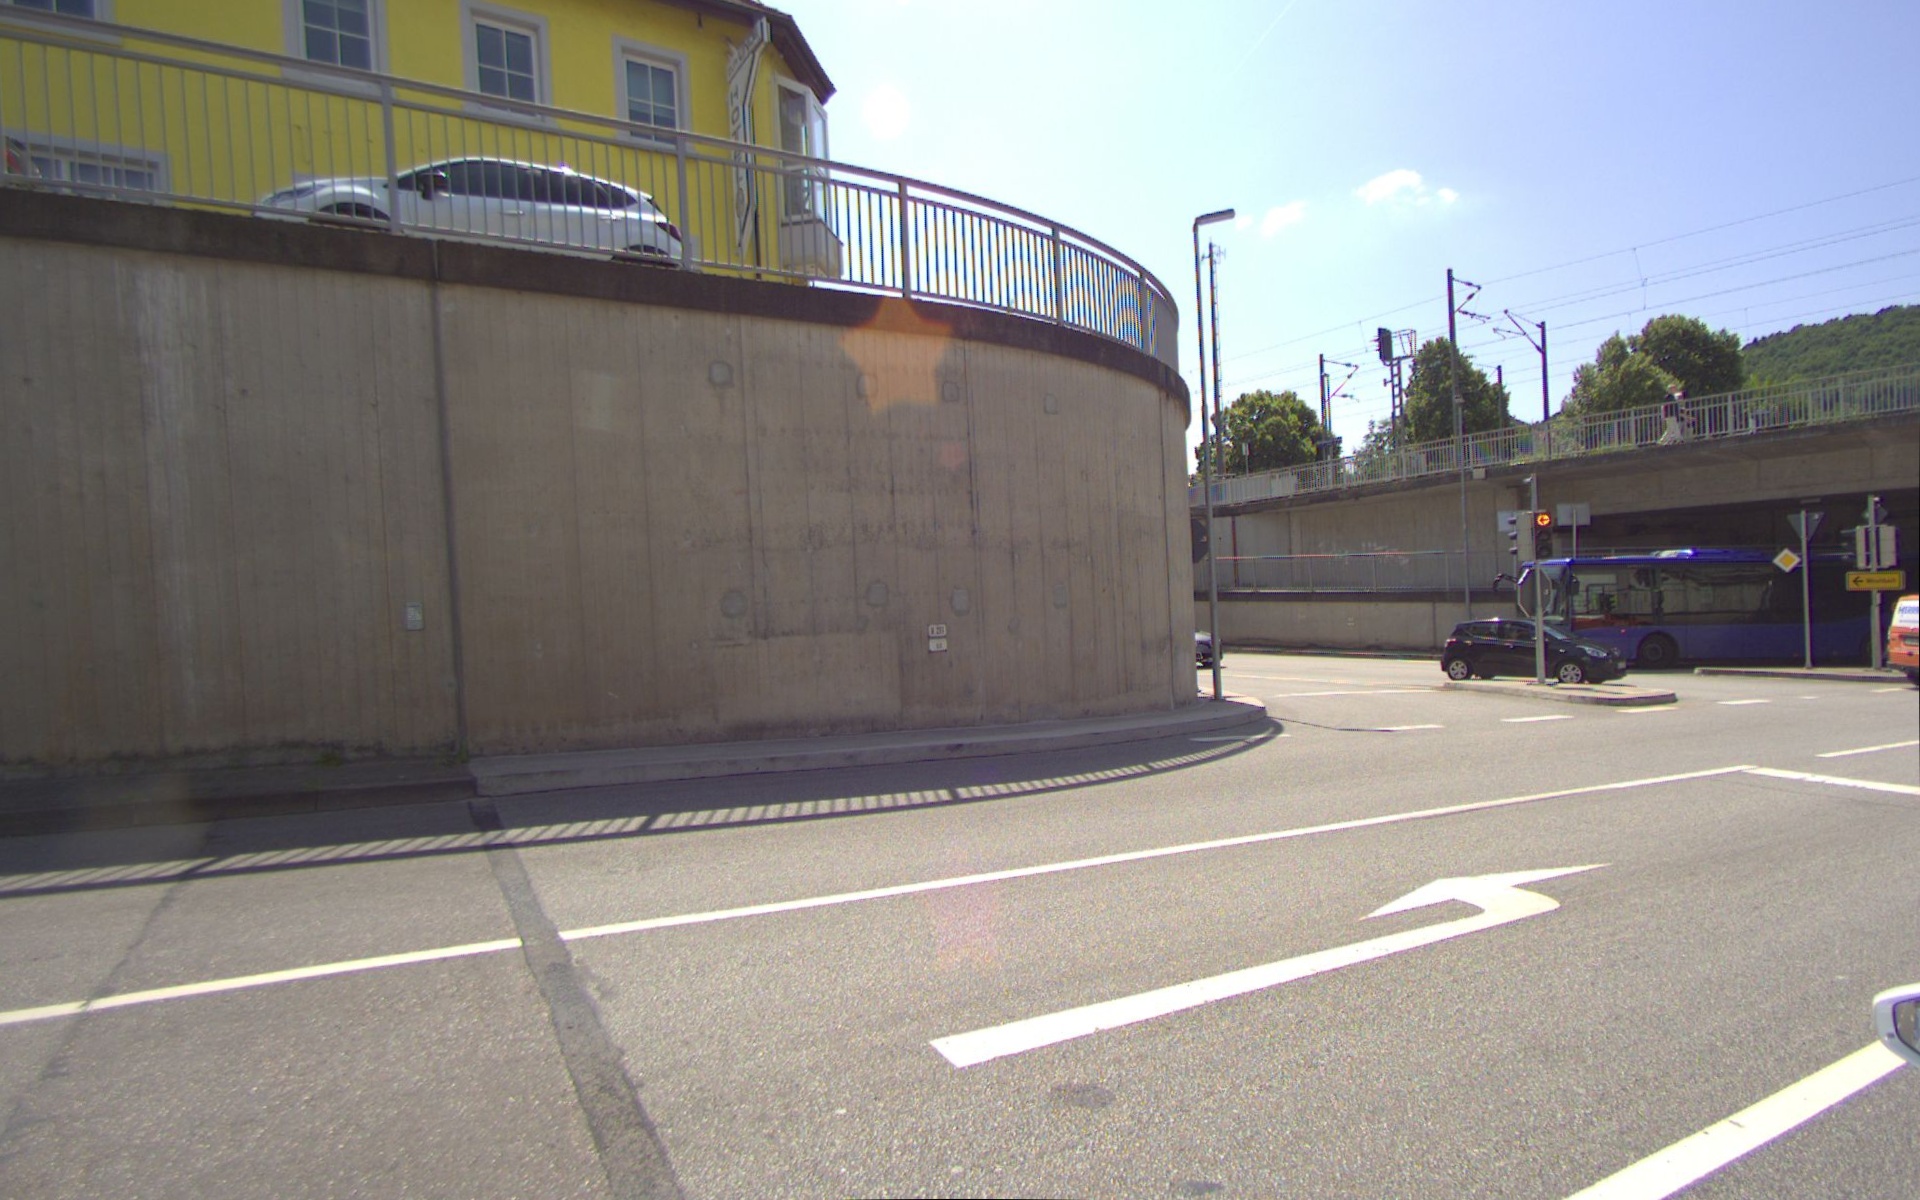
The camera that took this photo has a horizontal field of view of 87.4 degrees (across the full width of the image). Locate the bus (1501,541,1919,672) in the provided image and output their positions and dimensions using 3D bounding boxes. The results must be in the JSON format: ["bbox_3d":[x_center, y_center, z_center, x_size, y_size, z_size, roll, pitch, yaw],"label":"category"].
[{"bbox_3d":[21.960,0.135,28.174,12.132,3.215,2.589,-2,1,0],"label":"bus"}]

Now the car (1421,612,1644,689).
[{"bbox_3d":[12.937,1.069,22.905,1.980,1.528,3.960,-1,0,-35],"label":"car"}]

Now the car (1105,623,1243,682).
[{"bbox_3d":[6.714,1.601,31.788,1.981,1.610,3.959,-2,1,-36],"label":"car"}]

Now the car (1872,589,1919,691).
[{"bbox_3d":[21.084,0.734,19.480,4.626,1.958,1.879,-1,1,19],"label":"car"}]

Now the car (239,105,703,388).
[{"bbox_3d":[-4.904,-3.393,10.380,3.955,1.690,1.892,-2,1,-32],"label":"car"}]

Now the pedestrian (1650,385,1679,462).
[{"bbox_3d":[20.778,-5.189,29.623,0.531,2.108,0.571,1,-1,-40],"label":"pedestrian"}]

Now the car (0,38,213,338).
[{"bbox_3d":[-8.578,-3.368,7.872,4.175,1.728,1.812,-2,1,-32],"label":"car"}]
